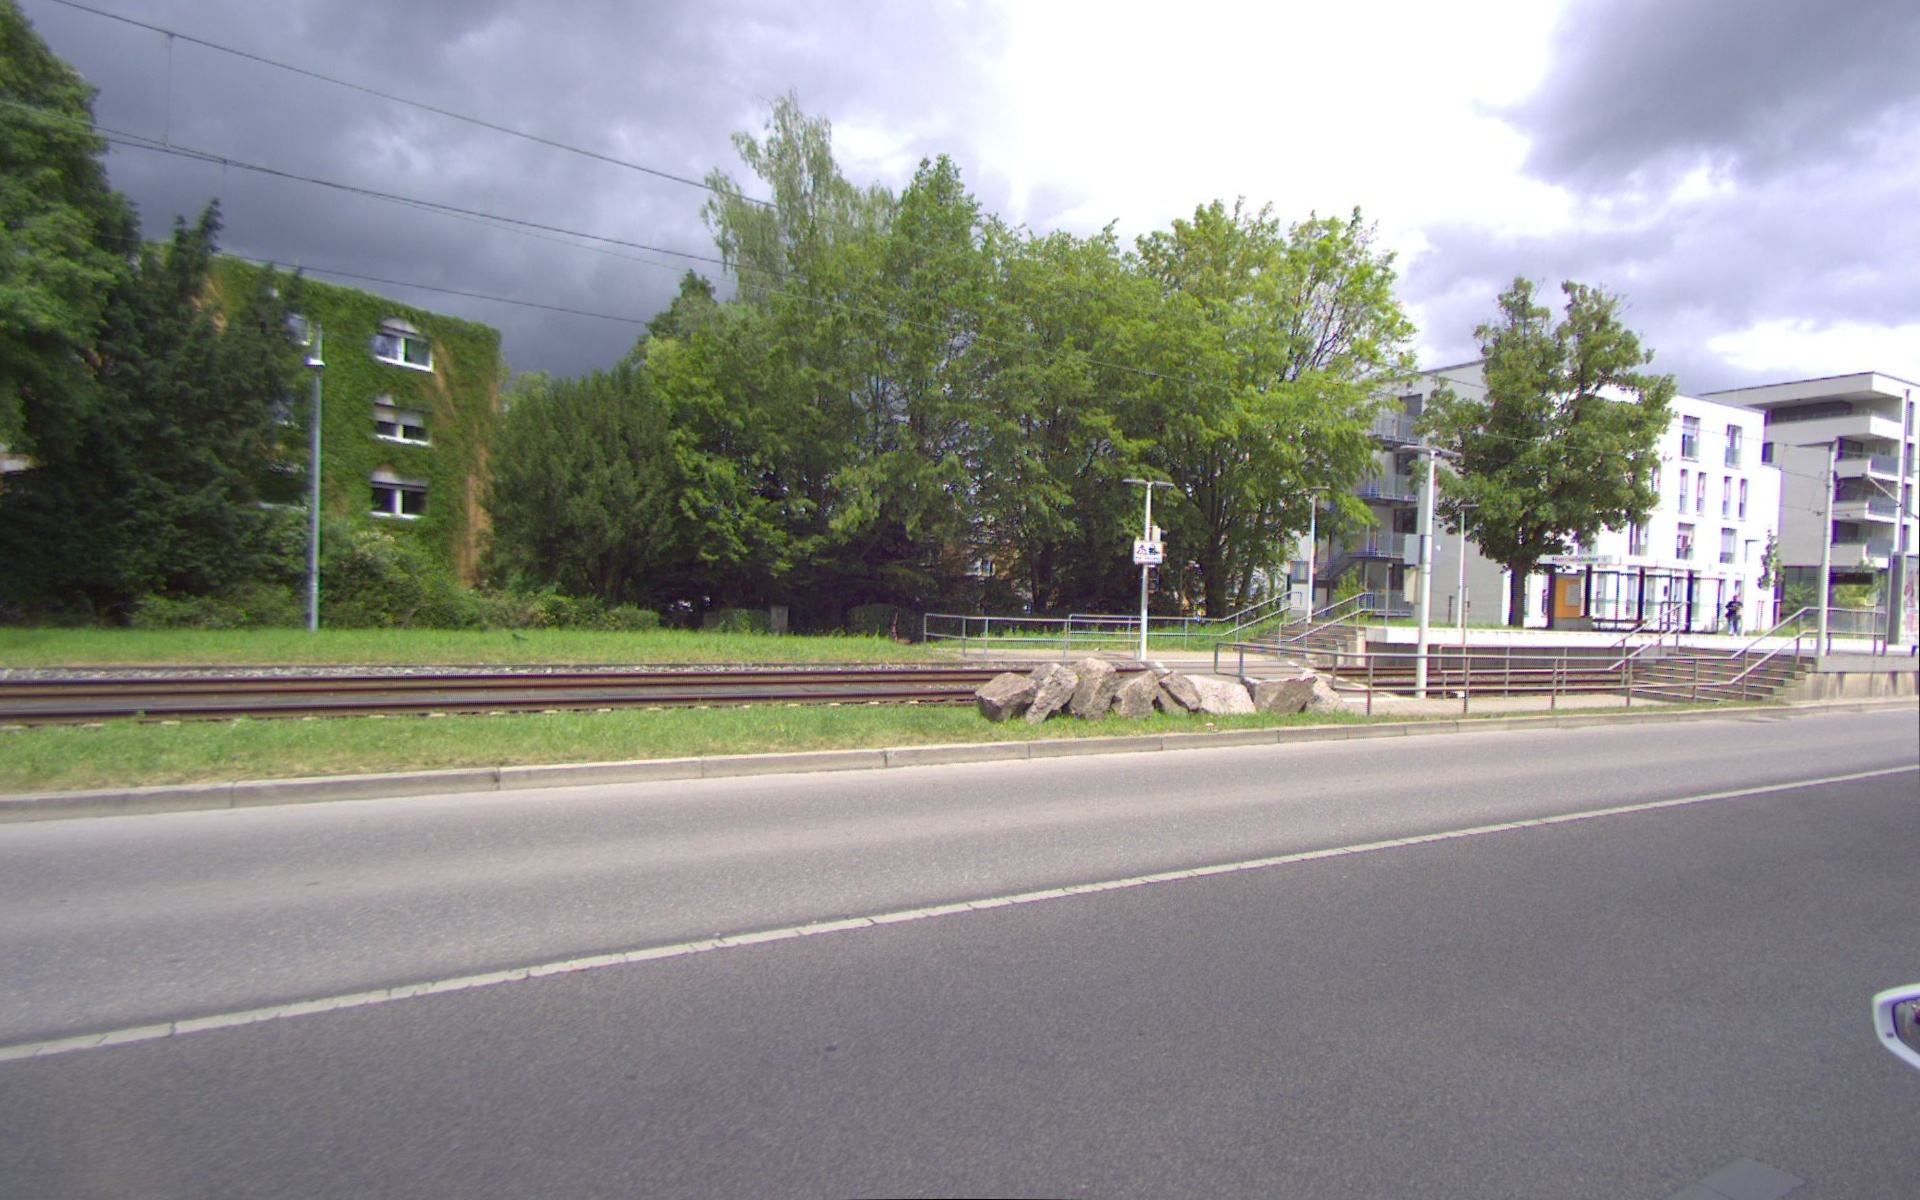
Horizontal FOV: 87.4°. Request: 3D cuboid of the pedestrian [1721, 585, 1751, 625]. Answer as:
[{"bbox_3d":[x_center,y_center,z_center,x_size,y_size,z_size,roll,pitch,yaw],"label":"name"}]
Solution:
[{"bbox_3d":[30.502,0.187,39.486,0.539,1.551,0.739,2,1,-25],"label":"pedestrian"}]
